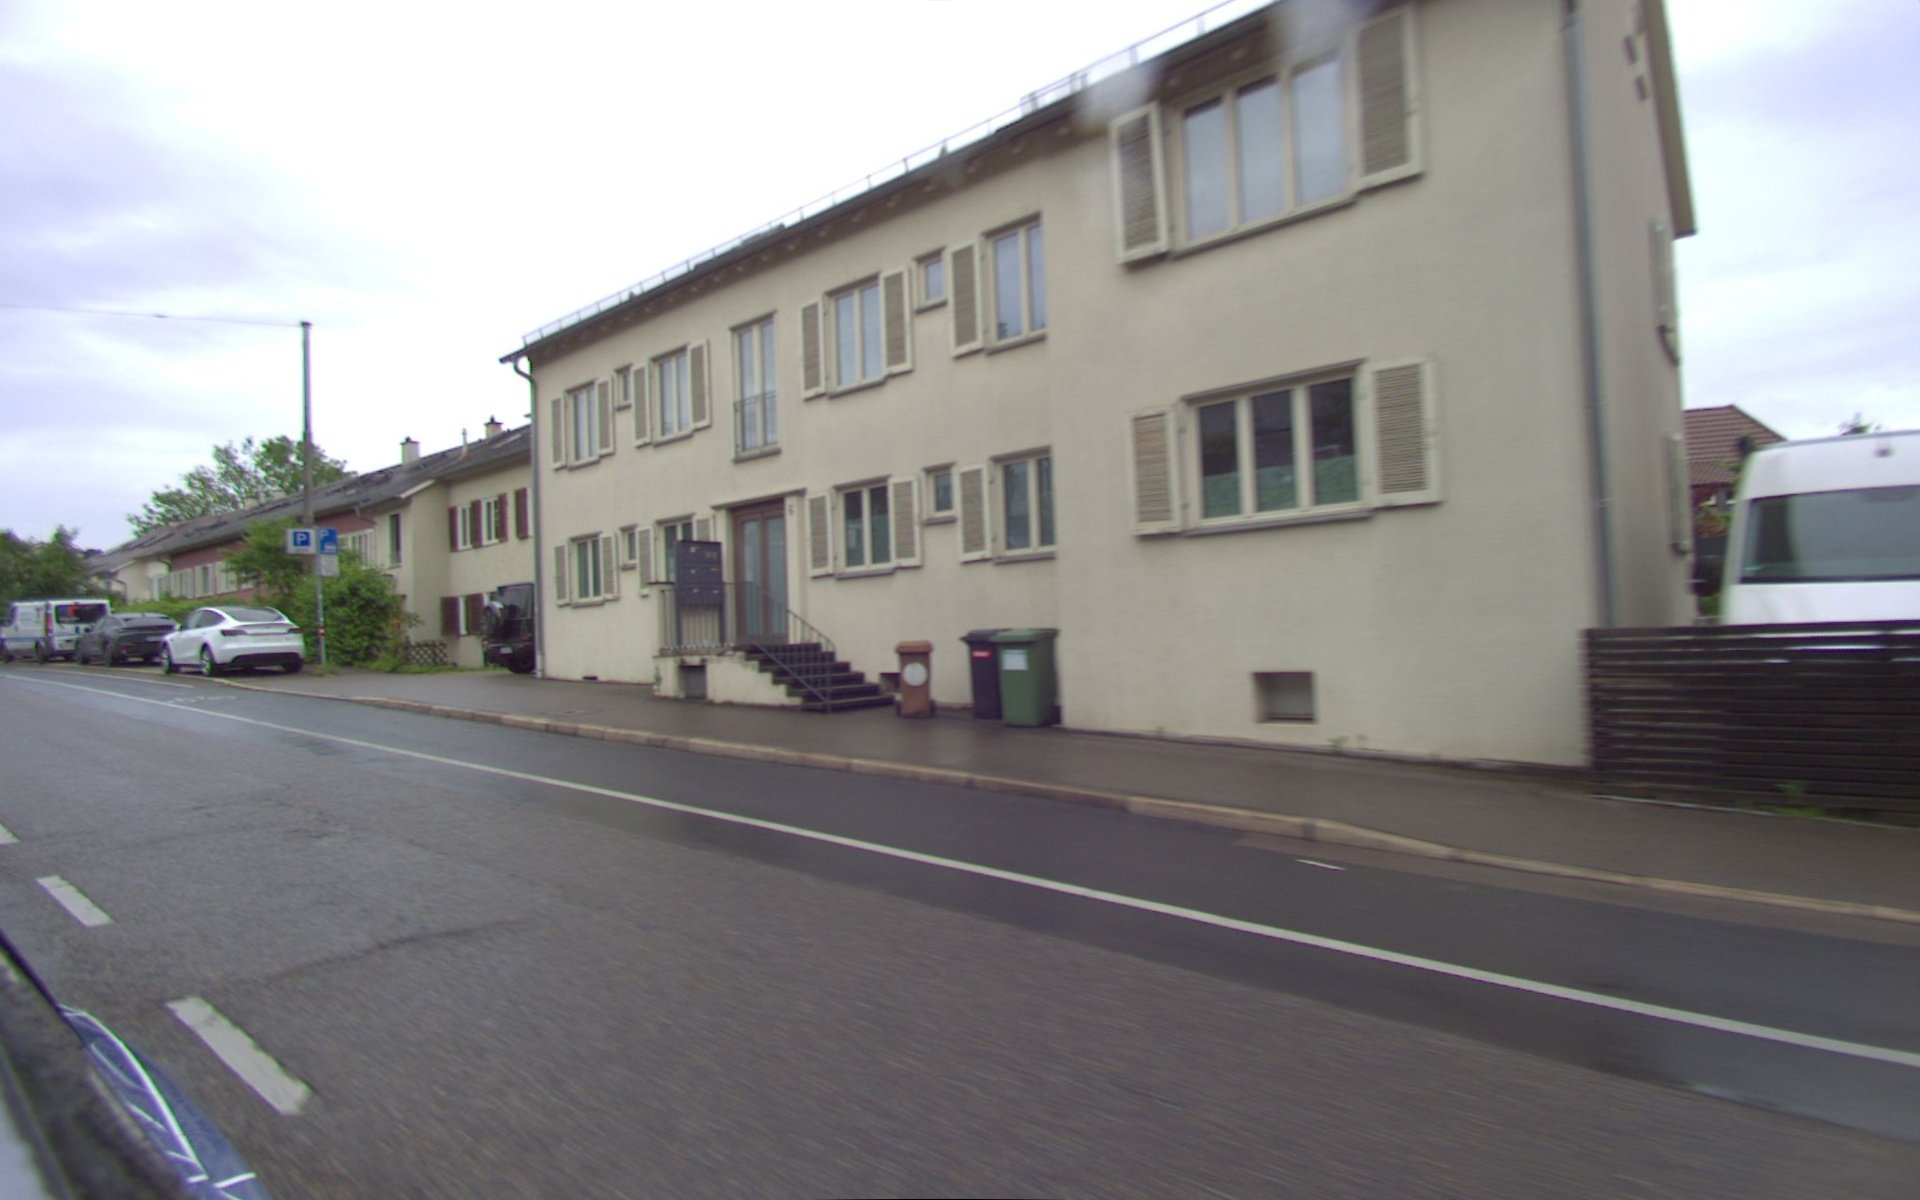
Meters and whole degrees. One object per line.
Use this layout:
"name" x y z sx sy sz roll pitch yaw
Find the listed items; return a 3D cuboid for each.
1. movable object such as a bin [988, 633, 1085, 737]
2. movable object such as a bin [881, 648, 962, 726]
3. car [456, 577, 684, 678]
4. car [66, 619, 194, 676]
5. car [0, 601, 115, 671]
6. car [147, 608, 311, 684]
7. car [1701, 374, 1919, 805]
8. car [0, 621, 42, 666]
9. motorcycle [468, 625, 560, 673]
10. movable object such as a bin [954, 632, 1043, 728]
"movable object such as a bin" 0.847 0.913 11.190 0.738 1.054 0.773 -1 0 40
"movable object such as a bin" -0.468 1.042 12.338 0.708 0.866 0.666 -1 0 40
"car" -8.607 0.598 22.705 1.885 2.029 4.447 -3 -2 37
"car" -24.122 1.323 29.364 4.513 1.488 1.792 -1 0 36
"car" -29.492 1.120 32.754 5.004 2.094 1.834 -1 0 32
"car" -17.803 1.048 24.581 4.669 1.643 1.912 -1 0 37
"car" 7.887 -0.088 8.531 2.167 2.572 6.586 0 1 40
"car" -34.198 1.512 35.204 4.498 1.488 1.798 -1 0 26
"motorcycle" -11.777 1.278 26.770 0.840 1.143 2.070 1 1 43
"movable object such as a bin" 0.461 0.924 11.995 0.708 1.054 0.773 -1 0 40
